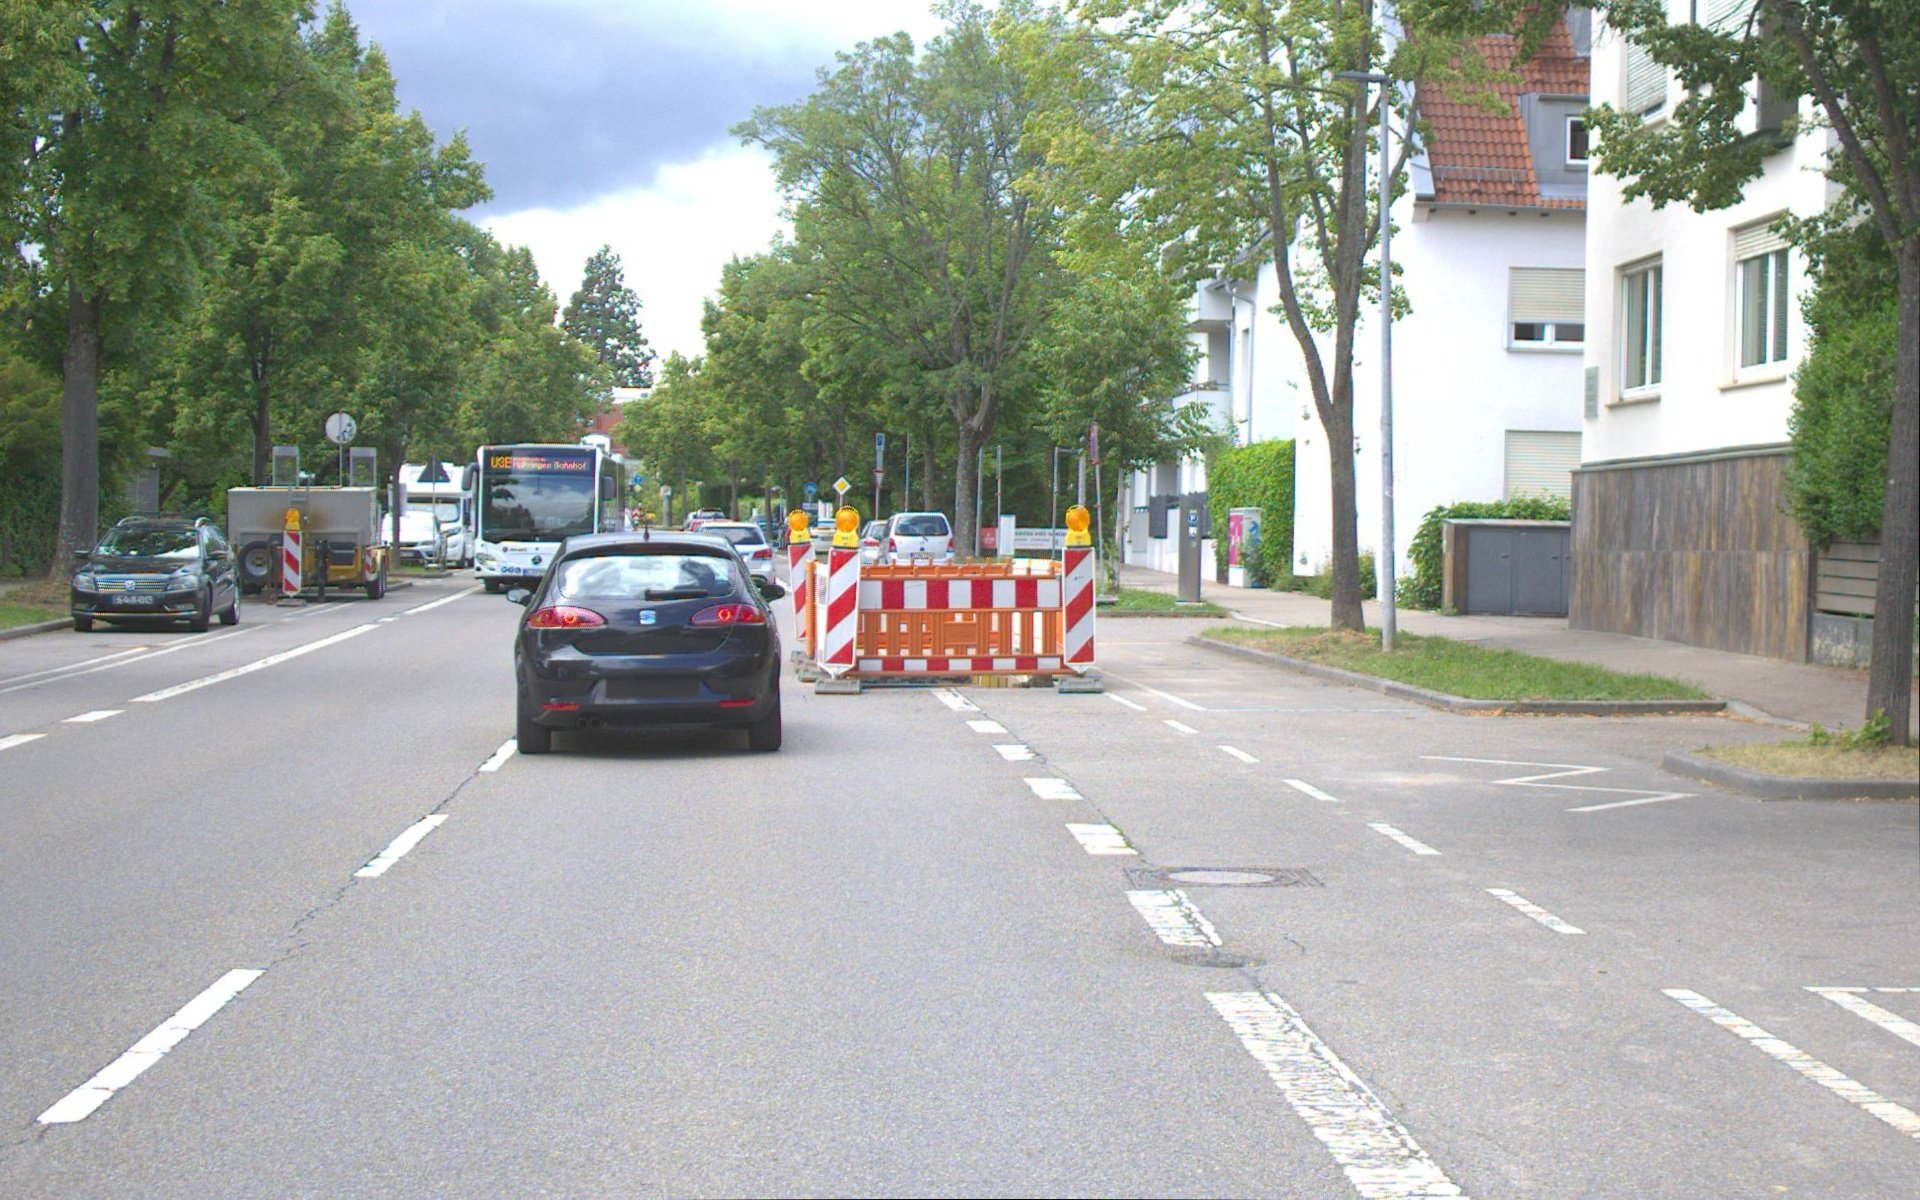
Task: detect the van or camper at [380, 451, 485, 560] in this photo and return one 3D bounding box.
[{"bbox_3d":[-15.195,-2.730,99.429,2.435,2.999,7.694,0,1,-4],"label":"van or camper"}]

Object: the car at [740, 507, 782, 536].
[{"bbox_3d":[-10.387,-4.102,179.208,1.682,1.427,4.046,0,2,-10],"label":"car"}]

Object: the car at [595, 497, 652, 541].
[{"bbox_3d":[-13.106,-3.165,134.242,1.993,1.662,4.590,-1,1,-3],"label":"car"}]

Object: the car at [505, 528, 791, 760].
[{"bbox_3d":[-2.122,0.237,23.407,1.783,1.444,3.559,0,1,-5],"label":"car"}]

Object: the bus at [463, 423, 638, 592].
[{"bbox_3d":[-8.934,-1.943,76.880,2.804,3.277,18.048,1,1,-4],"label":"bus"}]

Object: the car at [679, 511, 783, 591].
[{"bbox_3d":[-4.601,-1.008,69.455,1.993,1.552,4.001,1,1,-3],"label":"car"}]

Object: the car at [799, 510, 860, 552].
[{"bbox_3d":[-4.730,-2.502,124.175,2.020,1.438,5.026,1,1,-4],"label":"car"}]

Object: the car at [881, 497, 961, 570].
[{"bbox_3d":[-0.944,-1.566,80.654,1.632,1.660,3.648,0,1,-4],"label":"car"}]

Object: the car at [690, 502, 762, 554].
[{"bbox_3d":[-7.080,-2.179,103.843,1.993,1.525,4.001,0,1,-6],"label":"car"}]

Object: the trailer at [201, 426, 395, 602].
[{"bbox_3d":[-11.836,-1.503,62.022,2.673,2.931,7.477,1,1,-5],"label":"trailer"}]

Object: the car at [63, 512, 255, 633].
[{"bbox_3d":[-10.903,-0.348,47.068,1.860,1.548,4.620,1,0,-4],"label":"car"}]

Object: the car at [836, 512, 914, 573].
[{"bbox_3d":[-2.160,-1.457,86.354,1.687,1.488,4.228,0,1,-5],"label":"car"}]
